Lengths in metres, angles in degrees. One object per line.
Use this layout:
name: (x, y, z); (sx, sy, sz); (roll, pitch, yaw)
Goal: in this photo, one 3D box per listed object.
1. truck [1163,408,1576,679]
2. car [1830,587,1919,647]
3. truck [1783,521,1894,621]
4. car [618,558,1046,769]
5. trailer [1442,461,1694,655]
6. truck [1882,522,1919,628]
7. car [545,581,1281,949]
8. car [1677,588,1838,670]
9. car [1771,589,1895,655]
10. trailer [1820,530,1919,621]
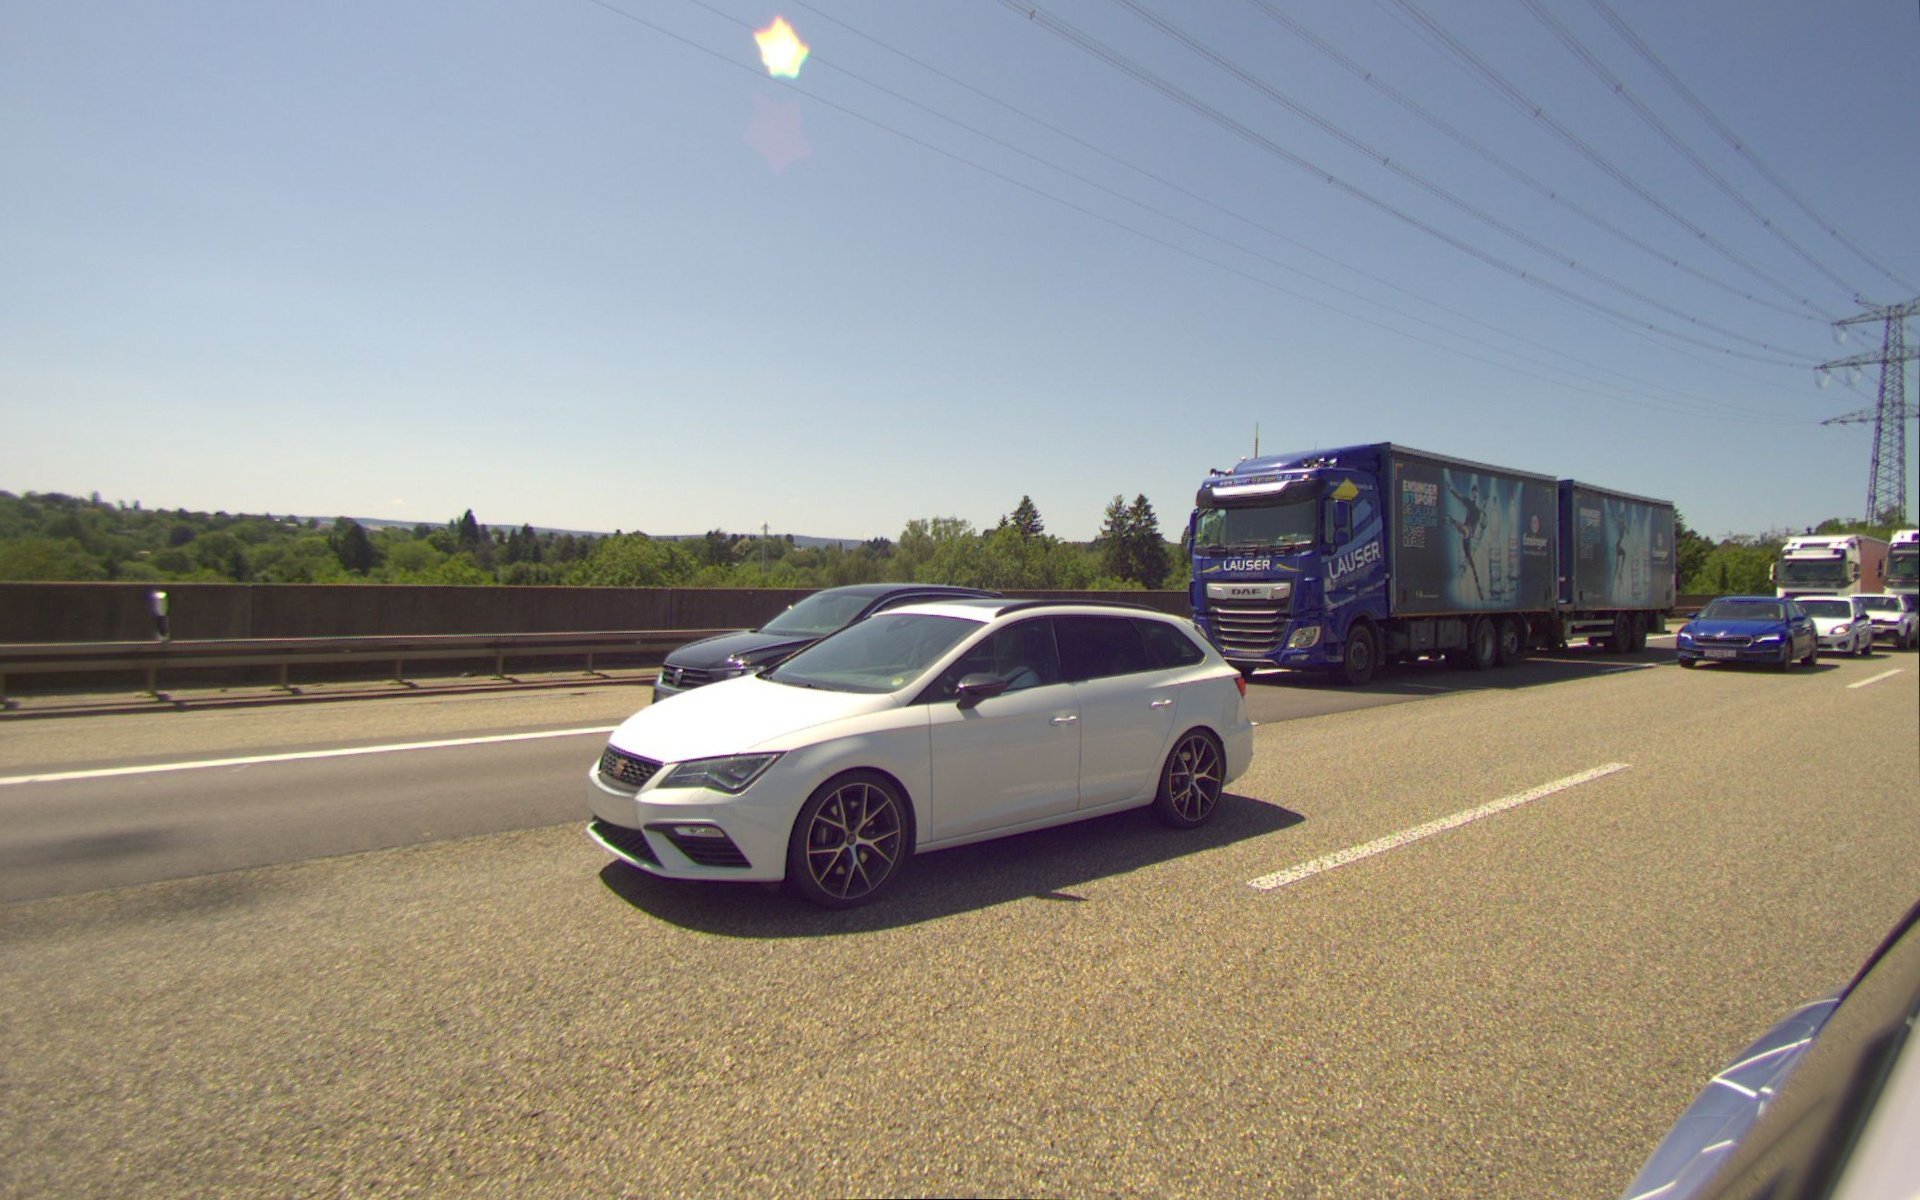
truck: (8.266, -0.913, 19.326); (10.210, 3.999, 2.857); (-1, 1, -40)
car: (25.631, 0.421, 28.002); (4.071, 1.528, 1.712); (-1, 1, -40)
truck: (38.928, -1.230, 44.727); (8.121, 4.037, 2.606); (-1, 1, -41)
car: (-1.099, 0.472, 10.088); (1.709, 1.675, 4.051); (0, 1, 45)
trailer: (15.451, -0.963, 25.372); (8.485, 4.140, 2.833); (-1, 1, -40)
truck: (38.195, -0.962, 38.936); (8.116, 3.874, 2.849); (-1, 1, -39)
car: (0.002, 0.656, 6.128); (4.351, 1.470, 1.711); (0, 0, -41)
car: (16.411, 0.513, 20.746); (4.482, 1.470, 1.712); (-1, 1, -40)
car: (21.669, 0.484, 25.073); (4.071, 1.470, 1.712); (-1, 1, -40)
trailer: (45.359, -1.196, 50.339); (8.927, 4.169, 2.606); (-1, 1, -41)
